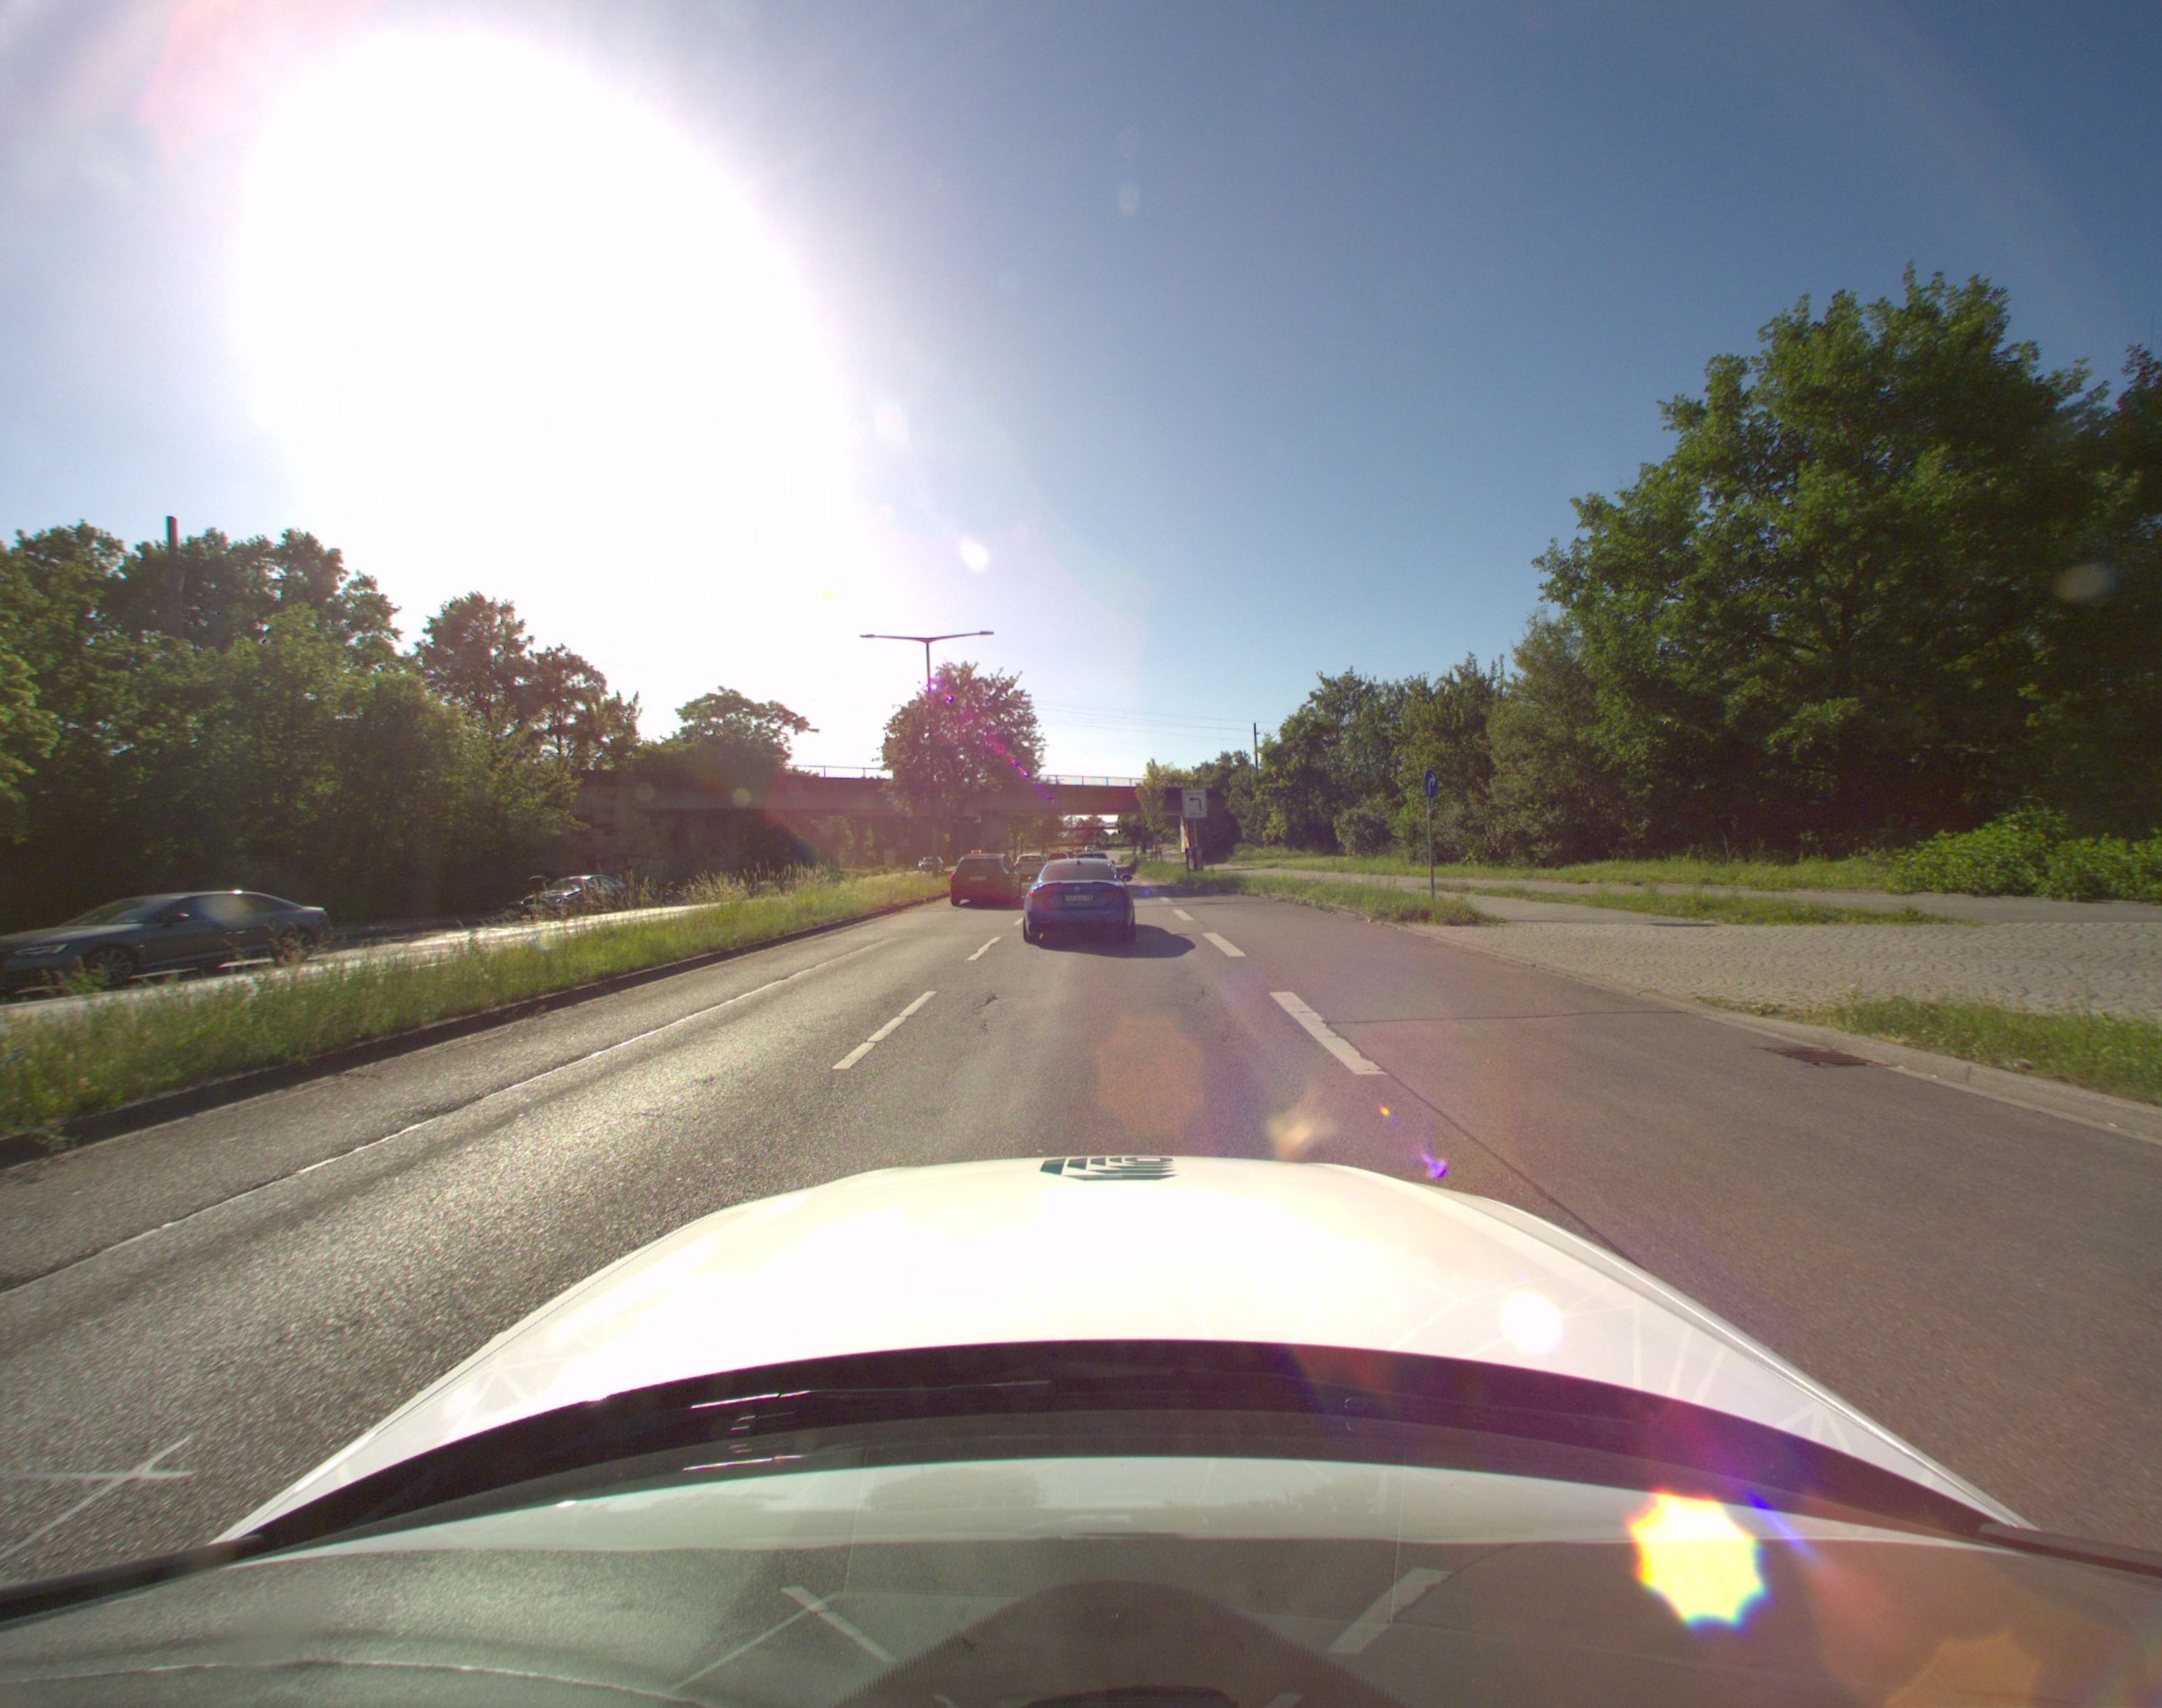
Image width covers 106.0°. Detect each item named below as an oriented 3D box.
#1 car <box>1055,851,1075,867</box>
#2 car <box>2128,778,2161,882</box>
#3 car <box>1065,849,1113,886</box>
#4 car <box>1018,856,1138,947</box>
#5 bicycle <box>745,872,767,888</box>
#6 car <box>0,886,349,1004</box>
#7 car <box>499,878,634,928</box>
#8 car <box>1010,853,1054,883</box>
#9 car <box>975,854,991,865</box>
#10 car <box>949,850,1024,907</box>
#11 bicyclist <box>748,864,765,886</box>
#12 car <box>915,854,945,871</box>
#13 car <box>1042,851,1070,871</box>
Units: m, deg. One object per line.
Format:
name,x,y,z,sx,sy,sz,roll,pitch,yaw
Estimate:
car,-1.569,0.461,81.054,1.773,1.454,4.183,-2,0,1
car,16.988,-0.362,11.017,3.270,1.486,1.773,-1,0,3
car,0.383,0.534,34.771,1.876,1.454,4.528,-1,0,1
car,0.009,0.758,15.011,1.876,1.406,4.225,-1,0,1
bicycle,-21.201,1.694,53.162,0.681,1.030,1.715,-1,0,1
car,-15.443,1.412,13.747,1.811,1.435,4.632,-4,0,1
car,-18.672,1.732,29.861,1.907,1.454,4.491,-4,0,1
car,-2.527,0.696,43.041,1.876,1.454,4.528,-1,0,1
car,-15.152,0.841,125.778,1.722,1.616,4.181,-3,0,2
car,-2.849,0.715,25.340,1.701,1.598,4.225,-1,0,1
bicyclist,-21.198,1.377,53.202,0.677,1.402,1.027,-1,0,1
car,-14.004,0.750,75.759,1.810,1.442,4.091,-3,0,1
car,-1.854,0.492,61.417,1.876,1.454,4.528,-1,0,1
